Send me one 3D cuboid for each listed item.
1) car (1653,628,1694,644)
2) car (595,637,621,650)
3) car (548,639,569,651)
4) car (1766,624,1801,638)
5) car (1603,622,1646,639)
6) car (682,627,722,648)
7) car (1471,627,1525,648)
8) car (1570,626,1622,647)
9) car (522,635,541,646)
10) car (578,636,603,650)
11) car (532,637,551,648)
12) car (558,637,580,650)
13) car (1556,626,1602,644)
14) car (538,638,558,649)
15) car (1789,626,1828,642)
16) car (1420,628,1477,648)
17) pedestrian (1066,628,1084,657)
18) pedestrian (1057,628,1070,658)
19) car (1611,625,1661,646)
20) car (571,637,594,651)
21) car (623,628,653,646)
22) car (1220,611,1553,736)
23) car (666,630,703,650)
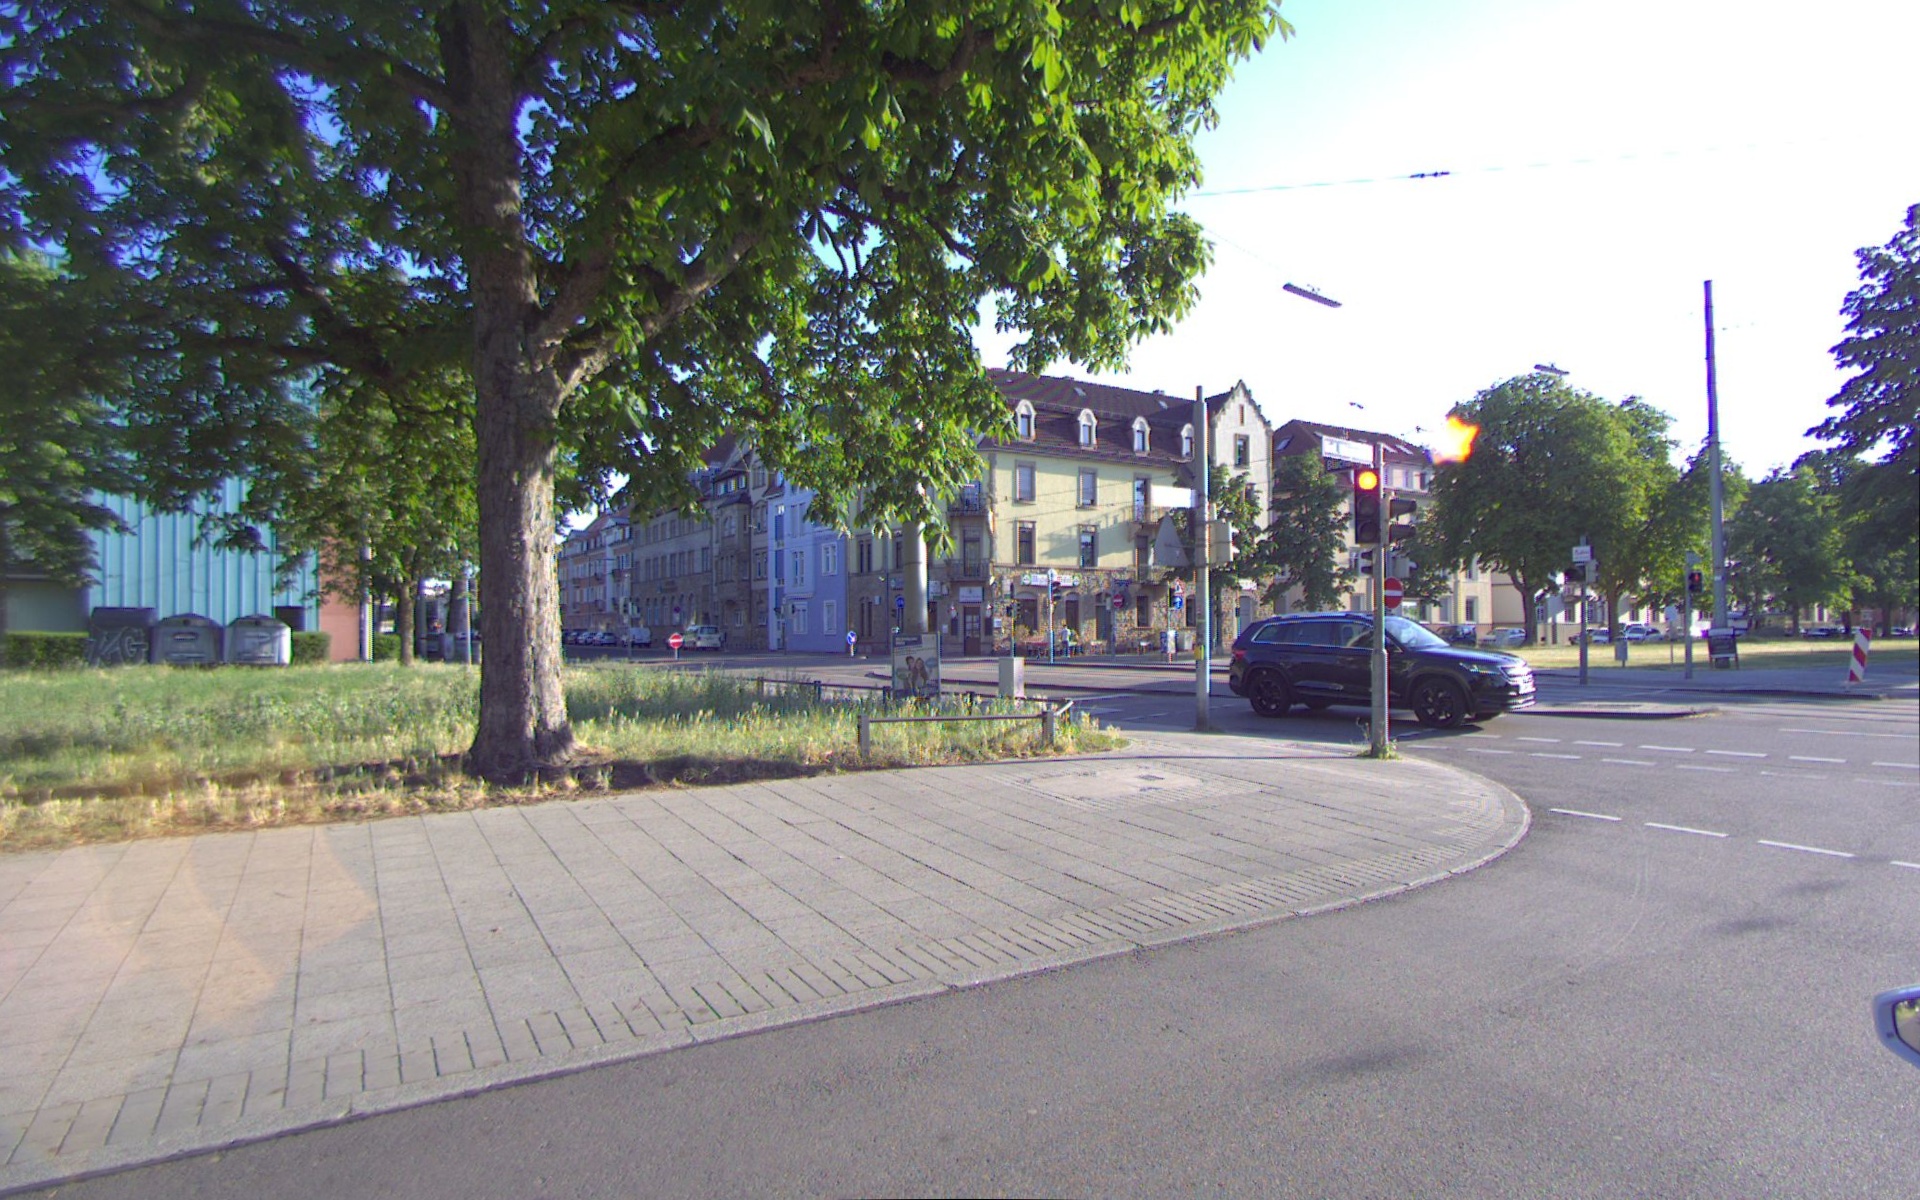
[{"bbox_3d":[65.847,3.267,92.716,3.749,1.446,1.729,1,-2,-31],"label":"car"},{"bbox_3d":[-36.443,4.475,103.868,1.867,1.299,4.013,1,-2,-29],"label":"car"},{"bbox_3d":[-48.948,5.468,122.367,1.867,1.433,4.013,1,-2,-29],"label":"car"},{"bbox_3d":[86.174,3.235,105.117,3.749,1.446,1.729,1,-1,-31],"label":"car"},{"bbox_3d":[57.484,2.624,86.882,3.749,1.446,1.729,1,-2,-31],"label":"car"},{"bbox_3d":[-20.124,2.922,78.389,2.074,1.612,4.014,2,-2,-29],"label":"car"},{"bbox_3d":[40.814,2.802,76.241,3.741,1.446,1.733,-1,0,-26],"label":"car"},{"bbox_3d":[46.160,2.626,72.854,3.749,1.446,1.729,0,-1,-31],"label":"car"},{"bbox_3d":[-57.583,5.468,134.897,1.867,1.433,4.013,1,-2,-29],"label":"car"},{"bbox_3d":[-39.901,4.639,108.391,1.867,1.433,4.013,1,-2,-29],"label":"car"},{"bbox_3d":[-54.653,5.562,131.093,1.867,1.433,4.013,1,-2,-29],"label":"car"},{"bbox_3d":[-45.916,5.113,117.862,1.867,1.433,4.013,1,-2,-29],"label":"car"},{"bbox_3d":[51.999,2.912,84.360,3.749,1.446,1.729,1,-2,-31],"label":"car"},{"bbox_3d":[-52.108,5.482,127.044,1.867,1.433,4.013,1,-2,-29],"label":"car"},{"bbox_3d":[80.212,3.210,94.962,3.749,1.446,1.729,1,-1,-31],"label":"car"},{"bbox_3d":[35.436,2.750,72.873,3.741,1.416,1.733,1,-2,-26],"label":"car"},{"bbox_3d":[6.560,2.416,57.165,0.715,1.664,0.811,0,-1,-23],"label":"pedestrian"},{"bbox_3d":[5.792,2.391,56.189,0.711,1.664,0.816,0,-1,5],"label":"pedestrian"},{"bbox_3d":[51.317,2.710,76.206,3.748,1.446,1.729,-1,-1,-31],"label":"car"},{"bbox_3d":[-42.639,4.964,113.511,1.867,1.433,4.013,1,-2,-29],"label":"car"},{"bbox_3d":[-30.155,3.490,94.073,1.888,1.610,4.013,2,-2,-29],"label":"car"},{"bbox_3d":[6.577,1.089,15.935,1.864,1.685,4.511,1,-3,-40],"label":"car"},{"bbox_3d":[-22.806,3.318,83.107,2.074,1.612,4.014,2,-2,-29],"label":"car"}]
